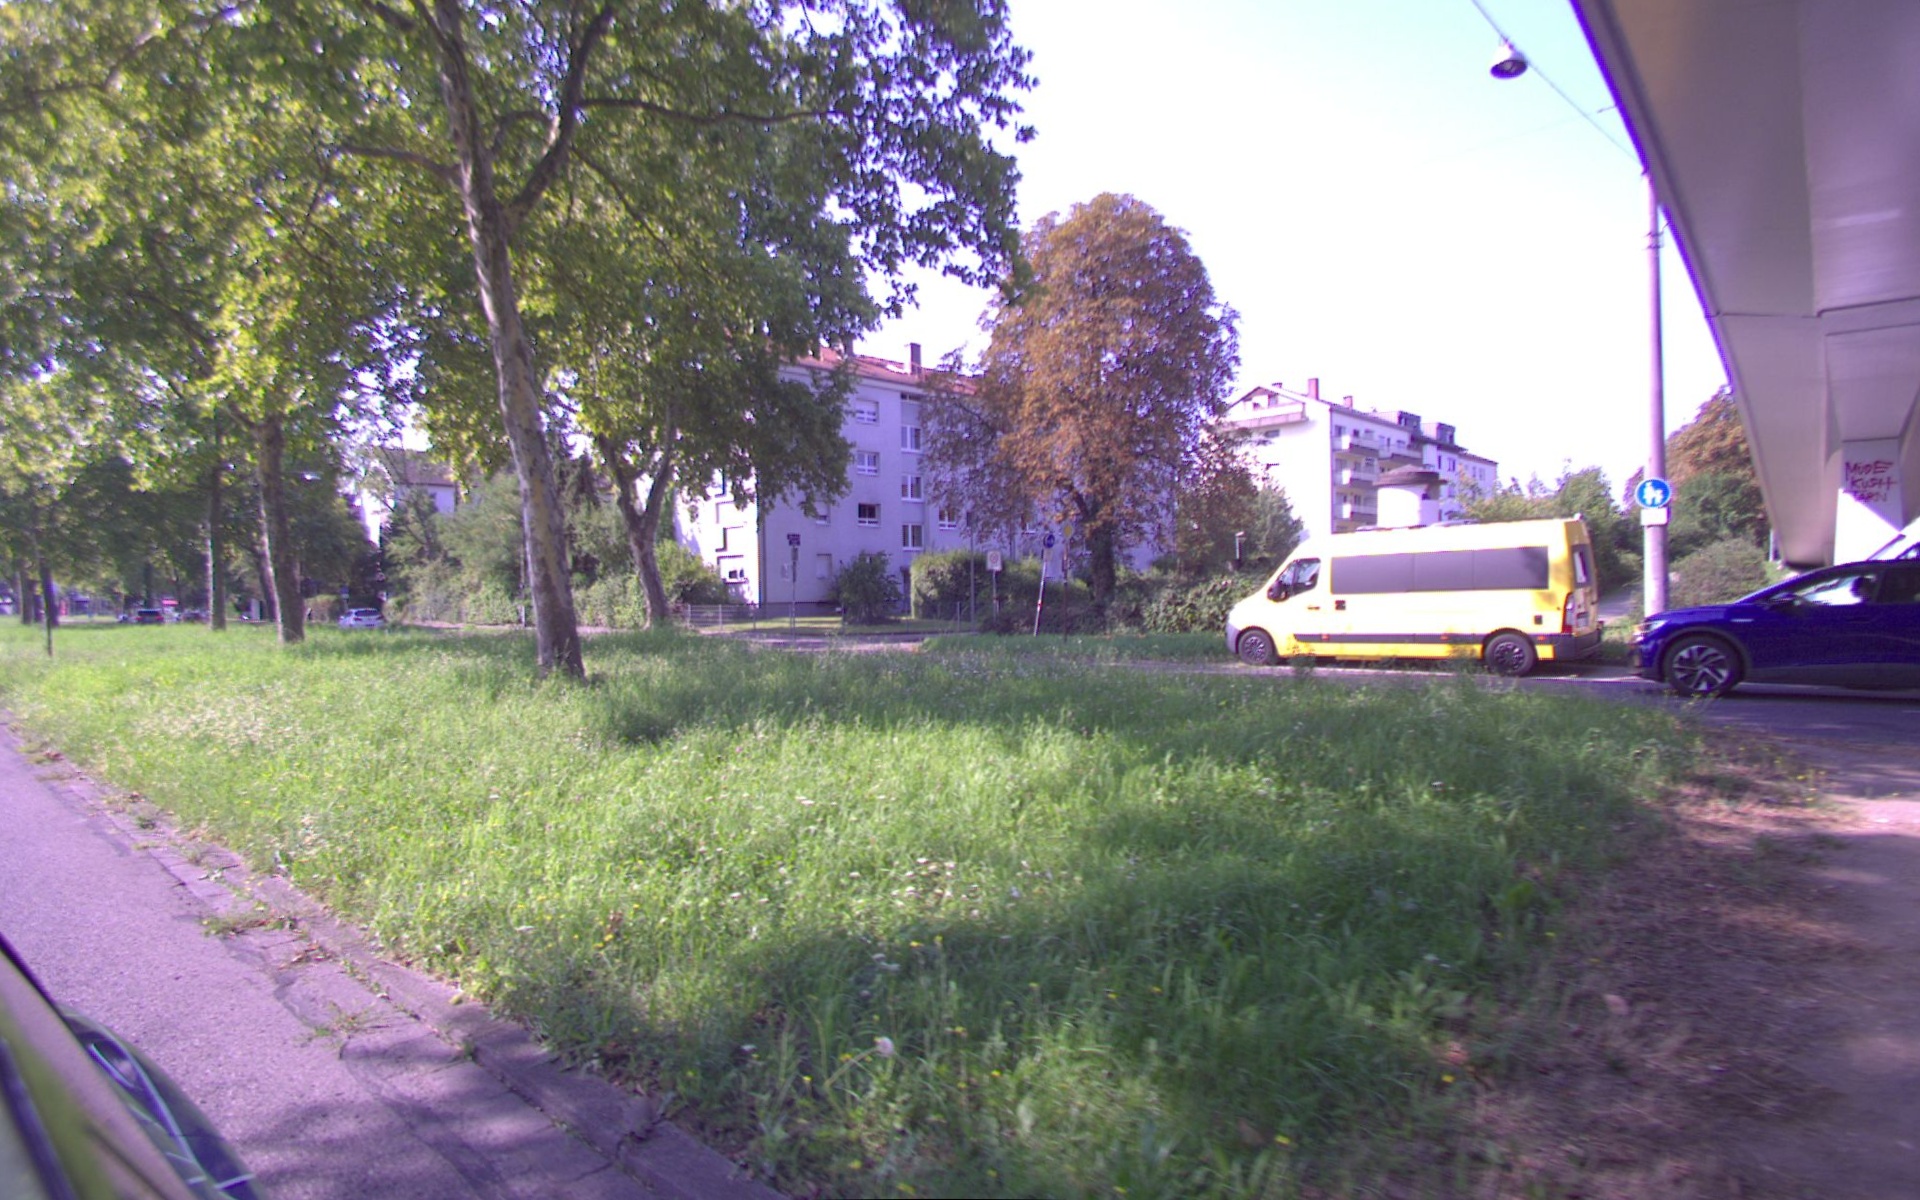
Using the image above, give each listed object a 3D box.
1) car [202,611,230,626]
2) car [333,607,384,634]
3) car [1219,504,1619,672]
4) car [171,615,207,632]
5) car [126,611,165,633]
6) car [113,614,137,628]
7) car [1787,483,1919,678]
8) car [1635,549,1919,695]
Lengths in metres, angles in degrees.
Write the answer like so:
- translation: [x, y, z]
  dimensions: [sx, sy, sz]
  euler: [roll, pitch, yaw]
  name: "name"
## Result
- translation: [-69.737, 1.760, 94.841]
  dimensions: [1.590, 1.301, 3.526]
  euler: [-2, 1, -44]
  name: "car"
- translation: [-35.447, 1.194, 59.599]
  dimensions: [3.900, 1.490, 1.627]
  euler: [0, 1, 44]
  name: "car"
- translation: [7.874, -0.192, 17.921]
  dimensions: [6.062, 2.498, 2.183]
  euler: [0, 1, 44]
  name: "car"
- translation: [-64.123, 1.962, 84.141]
  dimensions: [3.898, 1.374, 1.628]
  euler: [-1, 1, 42]
  name: "car"
- translation: [-63.824, 1.709, 79.302]
  dimensions: [4.858, 1.628, 1.755]
  euler: [0, 1, 44]
  name: "car"
- translation: [-95.022, 2.370, 115.177]
  dimensions: [3.900, 1.490, 1.627]
  euler: [0, 1, 44]
  name: "car"
- translation: [14.126, -0.328, 12.235]
  dimensions: [6.265, 2.447, 2.184]
  euler: [-1, 3, 43]
  name: "car"
- translation: [10.494, 0.205, 11.561]
  dimensions: [4.453, 1.544, 1.769]
  euler: [-1, 1, 41]
  name: "car"
